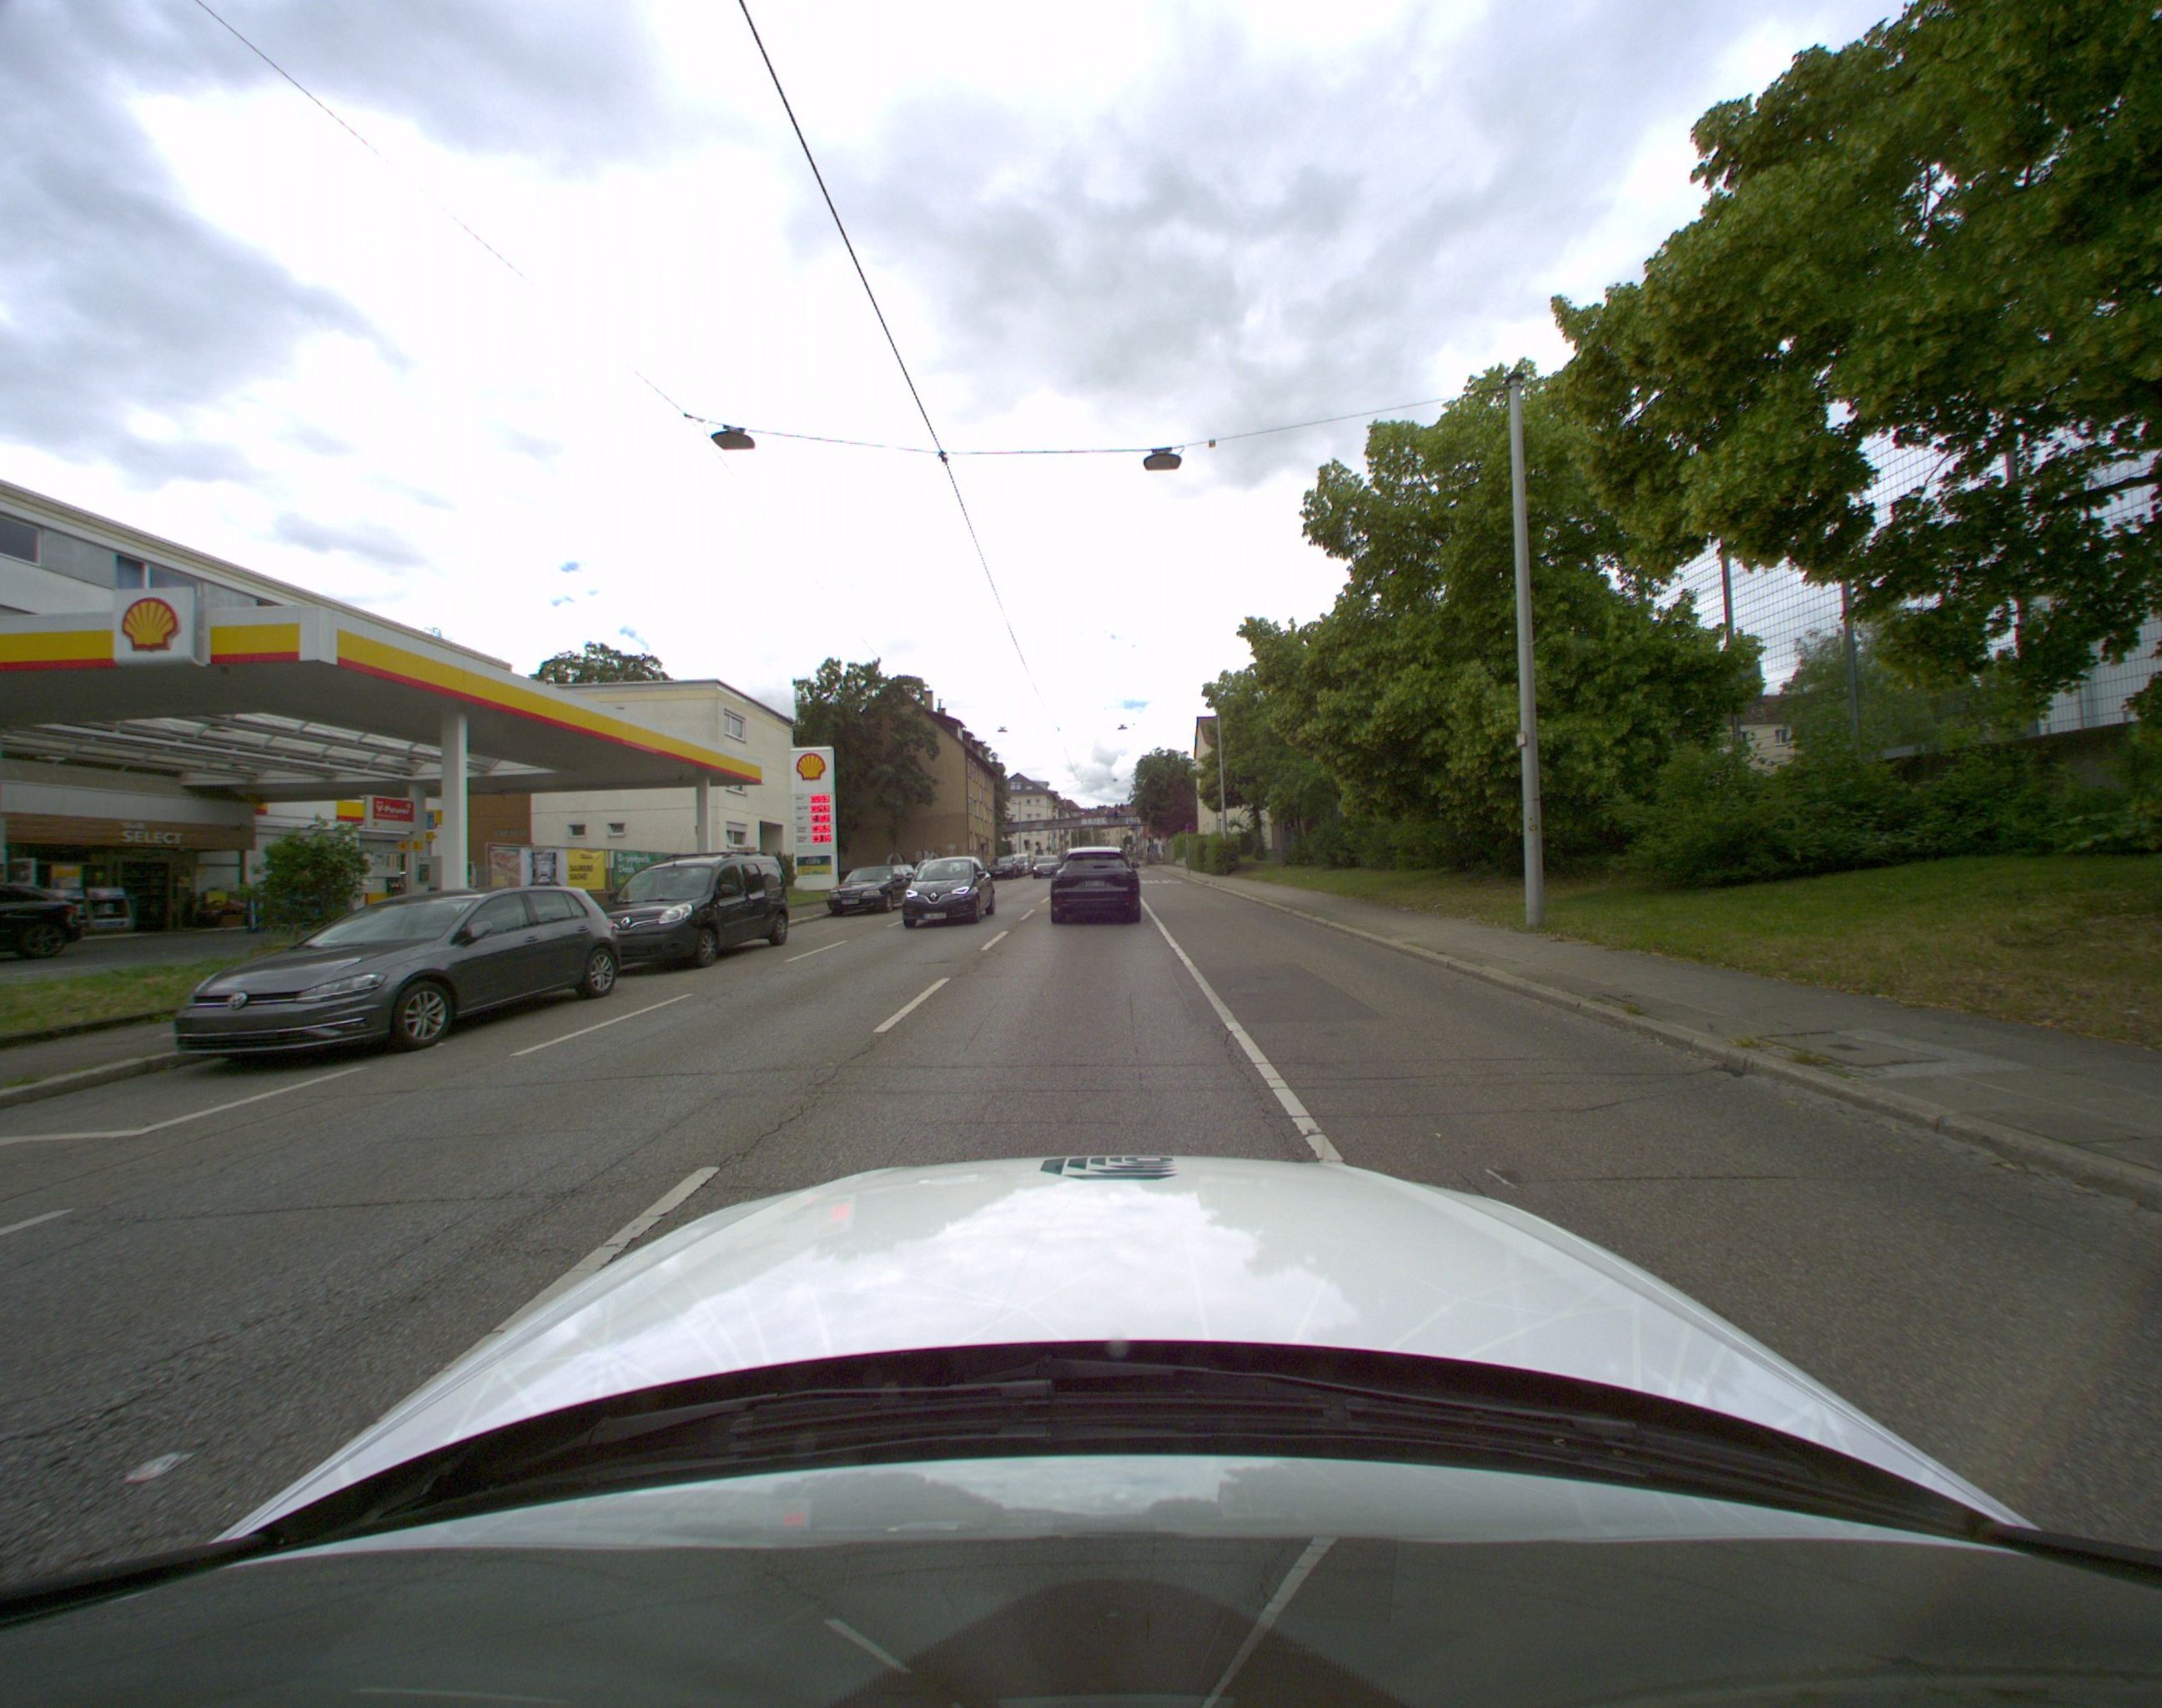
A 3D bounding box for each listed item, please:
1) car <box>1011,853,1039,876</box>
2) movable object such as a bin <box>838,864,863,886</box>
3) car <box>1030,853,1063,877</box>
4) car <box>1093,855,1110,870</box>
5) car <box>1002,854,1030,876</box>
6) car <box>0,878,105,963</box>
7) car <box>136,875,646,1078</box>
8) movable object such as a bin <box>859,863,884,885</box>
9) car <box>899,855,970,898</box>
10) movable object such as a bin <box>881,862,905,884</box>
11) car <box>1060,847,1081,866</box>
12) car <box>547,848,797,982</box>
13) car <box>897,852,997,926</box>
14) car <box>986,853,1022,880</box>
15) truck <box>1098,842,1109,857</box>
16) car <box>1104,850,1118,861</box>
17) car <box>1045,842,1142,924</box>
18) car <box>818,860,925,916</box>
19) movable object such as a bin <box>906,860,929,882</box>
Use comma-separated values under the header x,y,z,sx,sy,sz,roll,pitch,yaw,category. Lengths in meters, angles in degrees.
x,y,z,sx,sy,sz,roll,pitch,yaw,category
-4.598,0.849,67.881,1.770,1.754,4.559,-3,0,2,car
-15.456,1.394,54.616,1.388,1.428,0.913,-1,0,-1,movable object such as a bin
-2.236,0.691,54.390,1.771,1.466,4.502,-3,0,2,car
2.186,0.865,86.276,1.734,1.400,4.002,-2,1,2,car
-4.907,0.800,62.292,1.746,1.530,4.098,-3,0,0,car
-19.457,1.187,13.217,1.791,1.420,4.419,-1,0,2,car
-6.858,1.074,8.866,1.784,1.449,4.220,-3,0,2,car
-14.031,1.309,54.650,1.388,1.428,0.913,-1,0,-1,movable object such as a bin
-6.110,0.893,34.594,1.908,1.577,4.702,-3,0,2,car
-12.596,1.269,54.673,1.388,1.428,0.913,-1,0,-1,movable object such as a bin
-1.090,0.232,84.933,1.924,1.900,4.591,-3,0,2,car
-6.759,0.872,14.171,1.845,1.835,4.701,-3,0,0,car
-3.160,0.768,19.842,1.677,1.555,3.719,-3,0,1,car
-5.316,0.837,56.670,1.775,1.609,4.268,-4,0,3,car
5.433,-0.963,195.911,2.258,3.424,9.881,-2,0,2,truck
4.089,0.135,110.915,1.734,1.400,4.002,-2,1,2,car
0.341,0.590,19.047,1.986,1.662,4.002,-2,1,2,car
-6.479,1.006,25.817,1.790,1.431,4.749,-3,0,4,car
-10.936,1.113,54.394,1.278,1.428,1.278,-1,0,-3,movable object such as a bin
